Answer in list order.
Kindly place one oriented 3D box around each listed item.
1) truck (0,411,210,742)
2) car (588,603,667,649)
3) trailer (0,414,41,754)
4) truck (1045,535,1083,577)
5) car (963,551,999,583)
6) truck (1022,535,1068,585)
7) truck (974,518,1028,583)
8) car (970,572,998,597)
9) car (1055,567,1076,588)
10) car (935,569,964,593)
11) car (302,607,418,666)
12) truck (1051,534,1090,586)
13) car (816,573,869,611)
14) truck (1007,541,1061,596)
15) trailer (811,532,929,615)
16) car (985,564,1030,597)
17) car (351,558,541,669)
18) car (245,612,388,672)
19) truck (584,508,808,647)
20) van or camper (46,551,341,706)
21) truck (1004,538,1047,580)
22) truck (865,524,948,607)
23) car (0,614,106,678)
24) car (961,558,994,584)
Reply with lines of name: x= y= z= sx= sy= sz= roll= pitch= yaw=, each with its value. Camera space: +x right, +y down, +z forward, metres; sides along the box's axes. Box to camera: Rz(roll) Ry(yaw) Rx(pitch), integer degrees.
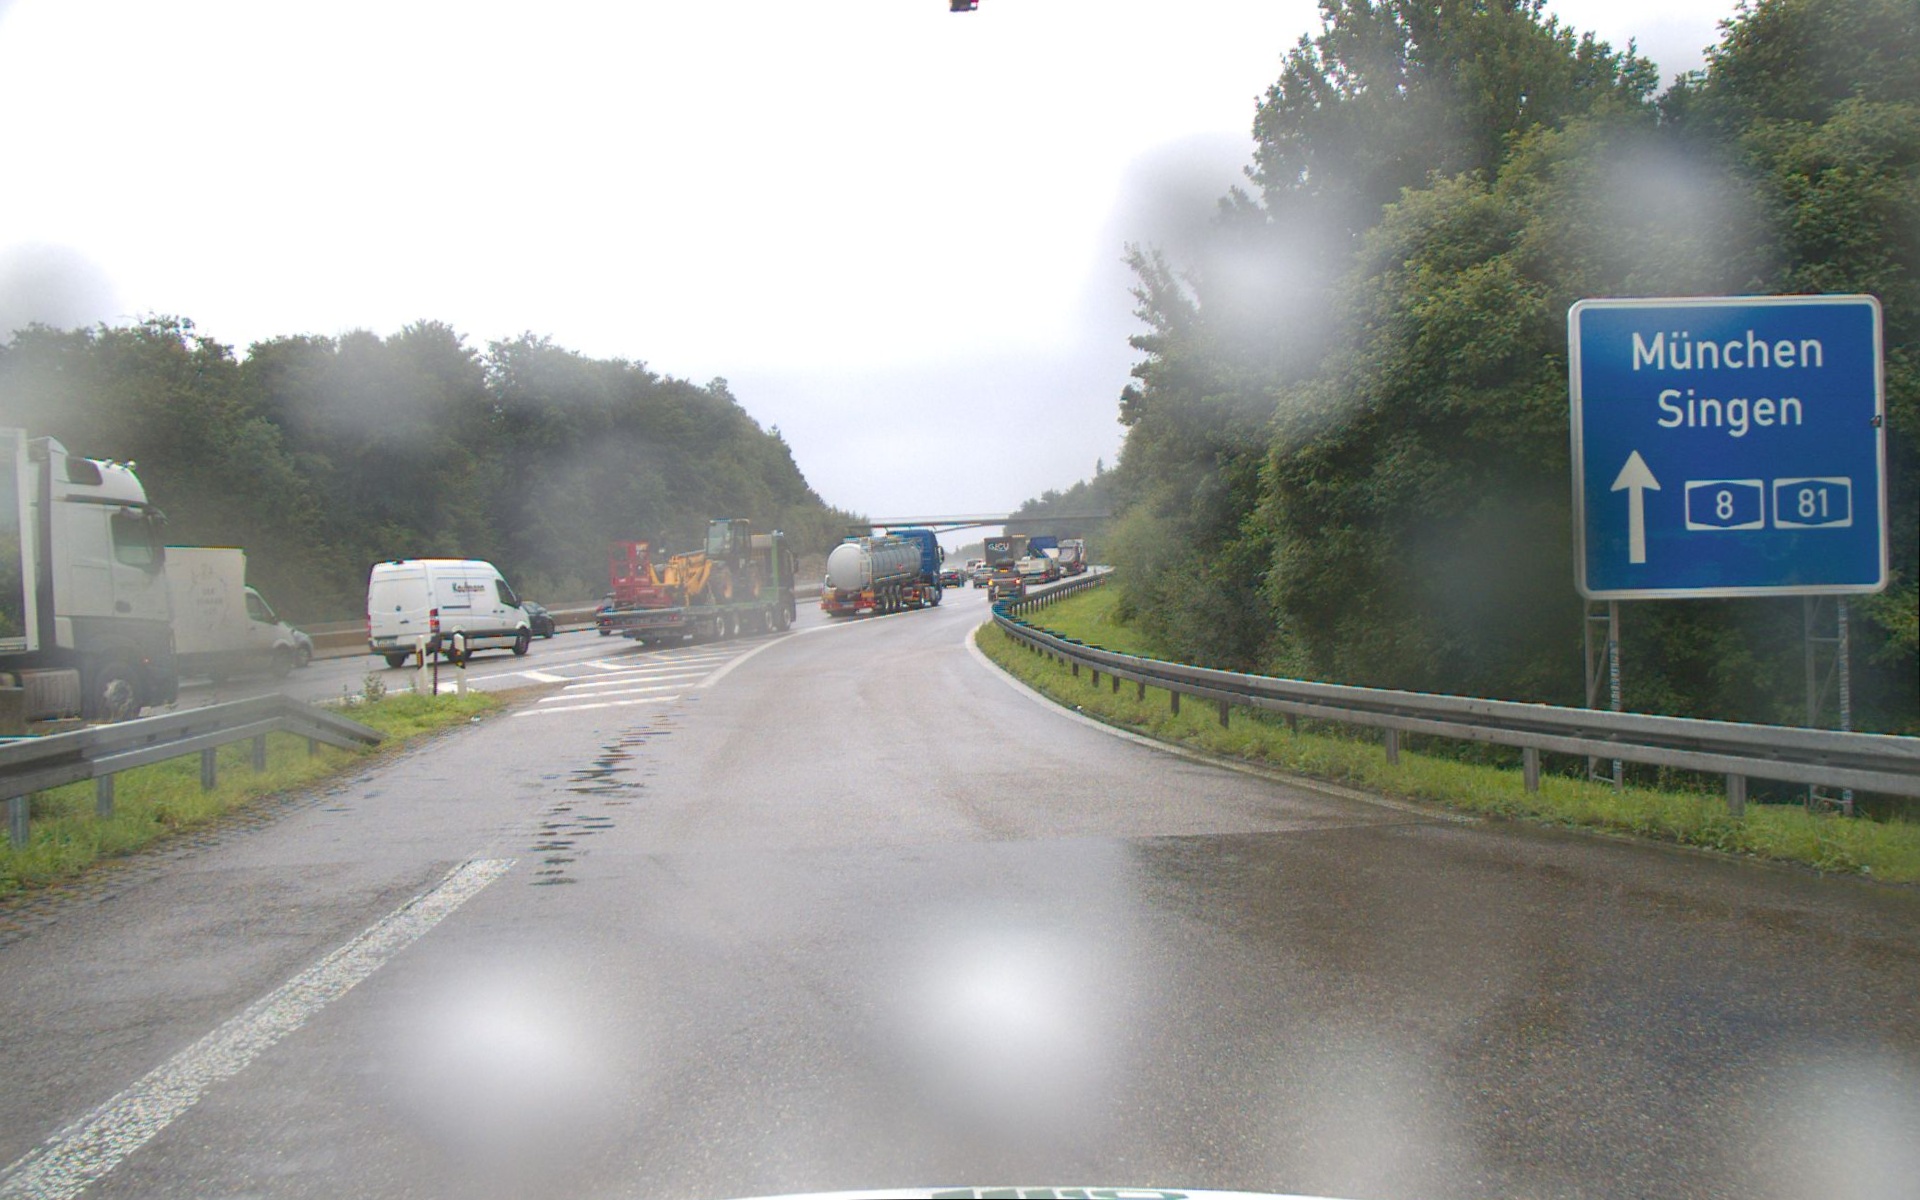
truck: x=-13.382 y=-0.249 z=21.670 sx=2.856 sy=4.170 sz=6.725 roll=-3 pitch=0 yaw=13
car: x=-13.105 y=0.995 z=65.313 sx=1.747 sy=1.757 sz=4.003 roll=1 pitch=0 yaw=9
trailer: x=-14.834 y=-0.047 z=15.011 sx=2.856 sy=4.278 sz=13.648 roll=-3 pitch=0 yaw=13
truck: x=11.025 y=-4.584 z=174.596 sx=3.675 sy=4.040 sz=11.066 roll=1 pitch=0 yaw=5
car: x=2.189 y=-3.380 z=170.643 sx=3.029 sy=3.055 sz=6.778 roll=1 pitch=0 yaw=6
truck: x=7.917 y=-3.589 z=152.039 sx=3.432 sy=4.342 sz=10.611 roll=1 pitch=0 yaw=7
truck: x=3.843 y=-4.417 z=151.476 sx=3.674 sy=5.595 sz=10.181 roll=1 pitch=0 yaw=8
car: x=1.905 y=-1.235 z=130.281 sx=1.759 sy=1.937 sz=4.003 roll=0 pitch=0 yaw=7
car: x=10.248 y=-2.148 z=160.231 sx=1.759 sy=1.937 sz=4.003 roll=-3 pitch=0 yaw=7
car: x=-0.866 y=-1.571 z=140.568 sx=1.759 sy=1.937 sz=4.003 roll=-3 pitch=0 yaw=8
car: x=-20.153 y=1.206 z=55.715 sx=1.738 sy=1.735 sz=4.004 roll=-3 pitch=1 yaw=12
truck: x=13.308 y=-4.698 z=197.851 sx=4.244 sy=5.864 sz=9.737 roll=1 pitch=0 yaw=6
car: x=-5.993 y=-0.437 z=84.552 sx=1.780 sy=1.797 sz=4.004 roll=-2 pitch=1 yaw=9
truck: x=6.167 y=-2.636 z=135.812 sx=3.524 sy=4.176 sz=11.570 roll=-3 pitch=1 yaw=6
trailer: x=-3.853 y=-1.280 z=74.178 sx=2.812 sy=3.345 sz=10.089 roll=-3 pitch=1 yaw=11
car: x=2.508 y=-1.002 z=86.309 sx=1.951 sy=1.665 sz=4.003 roll=1 pitch=0 yaw=8
car: x=-13.535 y=0.277 z=44.021 sx=2.168 sy=2.675 sz=5.849 roll=-3 pitch=1 yaw=11
car: x=-19.641 y=1.241 z=50.712 sx=1.826 sy=1.549 sz=4.634 roll=-3 pitch=1 yaw=11
truck: x=-7.835 y=-0.765 z=51.428 sx=2.771 sy=3.650 sz=11.809 roll=-3 pitch=1 yaw=11
van or camper: x=-17.930 y=0.556 z=39.319 sx=2.524 sy=3.259 sz=7.138 roll=-3 pitch=1 yaw=11
truck: x=7.226 y=-4.466 z=181.715 sx=3.500 sy=4.167 sz=10.888 roll=-2 pitch=0 yaw=8
truck: x=-2.580 y=-1.714 z=80.863 sx=2.815 sy=3.757 sz=5.062 roll=-3 pitch=1 yaw=11
car: x=-23.904 y=1.172 z=41.478 sx=1.707 sy=1.449 sz=4.838 roll=-3 pitch=1 yaw=12
car: x=2.145 y=-3.470 z=199.698 sx=3.177 sy=3.055 sz=6.779 roll=1 pitch=0 yaw=8
